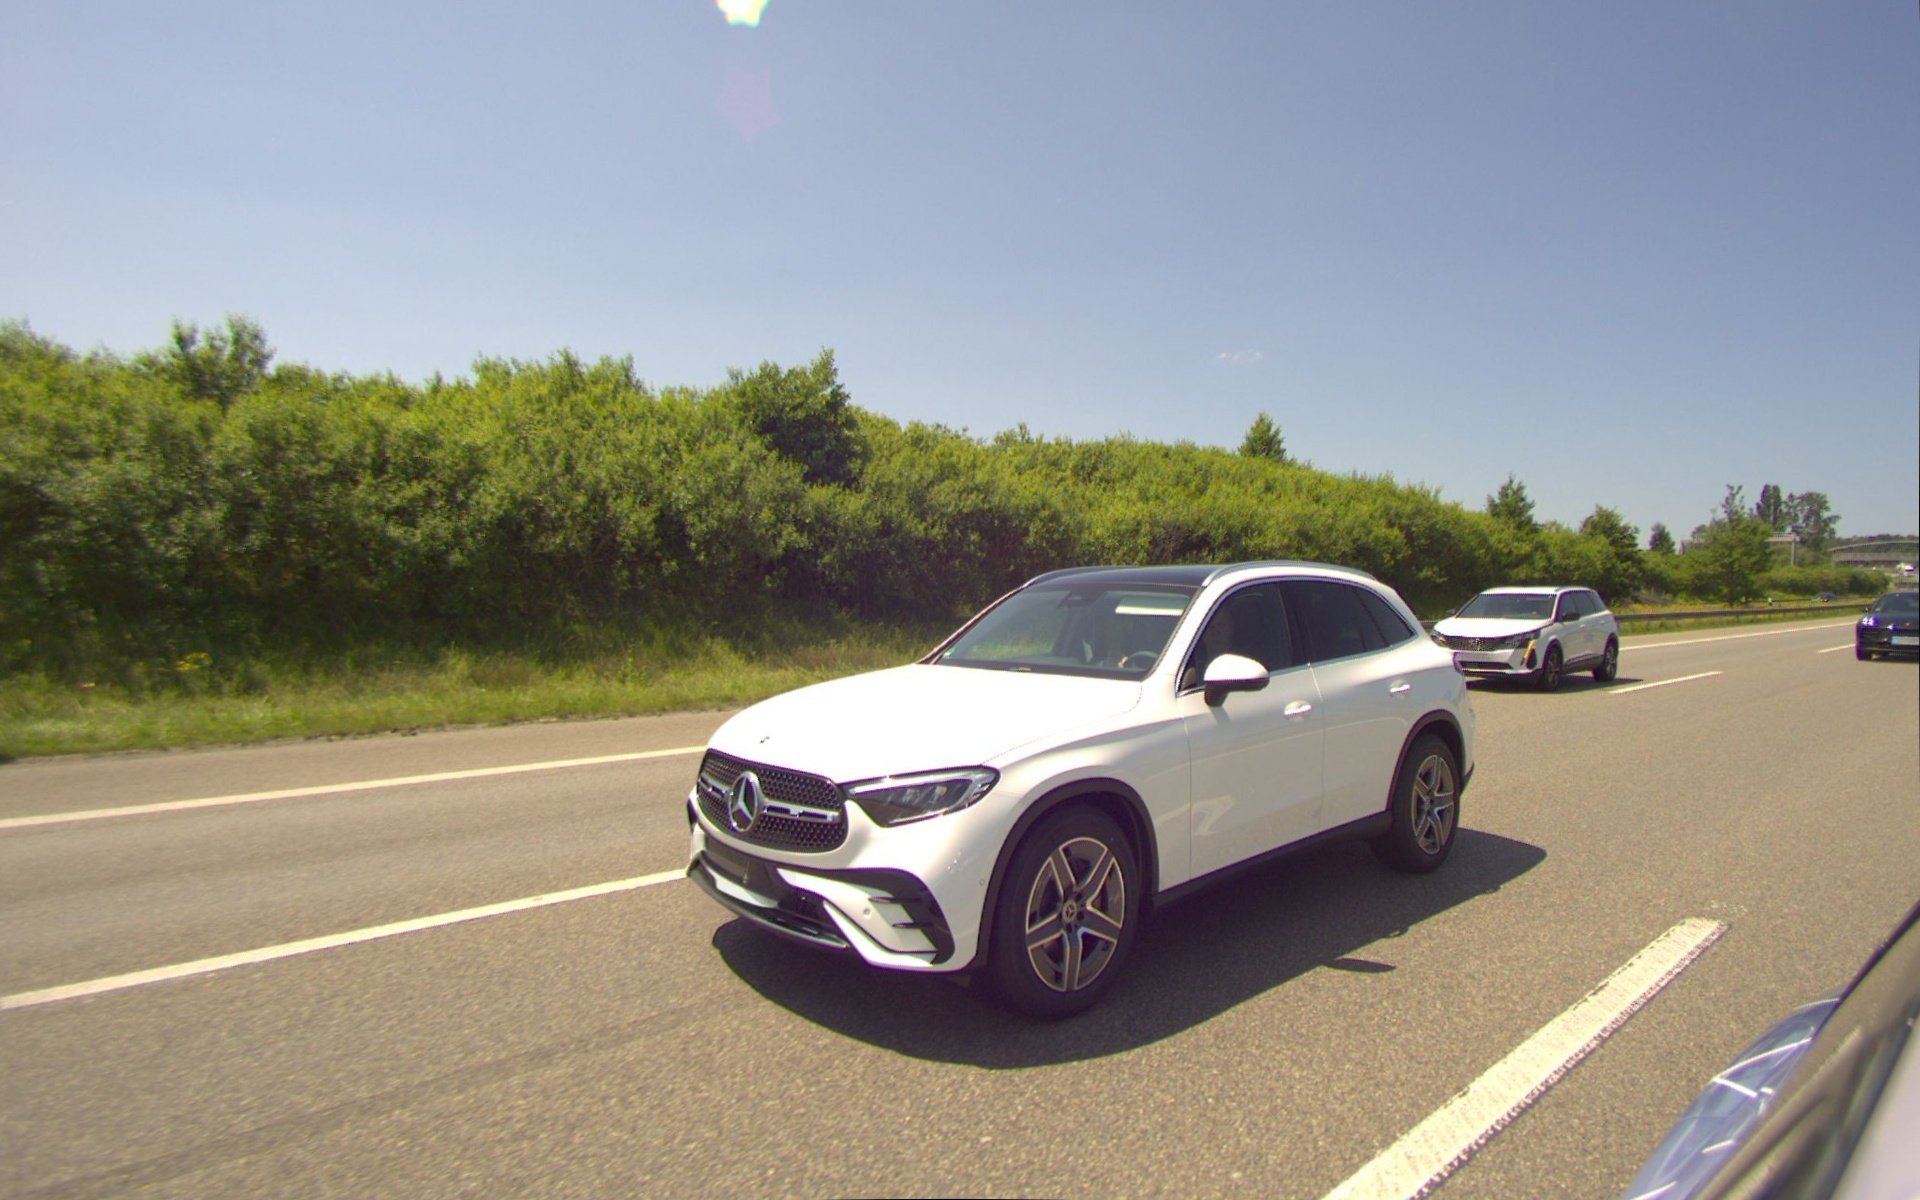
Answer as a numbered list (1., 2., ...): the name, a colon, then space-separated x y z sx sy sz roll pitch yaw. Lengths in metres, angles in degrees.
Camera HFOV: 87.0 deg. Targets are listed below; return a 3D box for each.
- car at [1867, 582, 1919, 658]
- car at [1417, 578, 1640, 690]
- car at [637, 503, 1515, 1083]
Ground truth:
1. car: 22.751 0.410 23.618 4.540 1.650 1.979 -1 1 -43
2. car: 9.713 0.467 17.134 4.537 1.650 1.896 -1 1 -41
3. car: 0.927 0.541 5.160 4.556 1.677 1.908 0 0 -41
